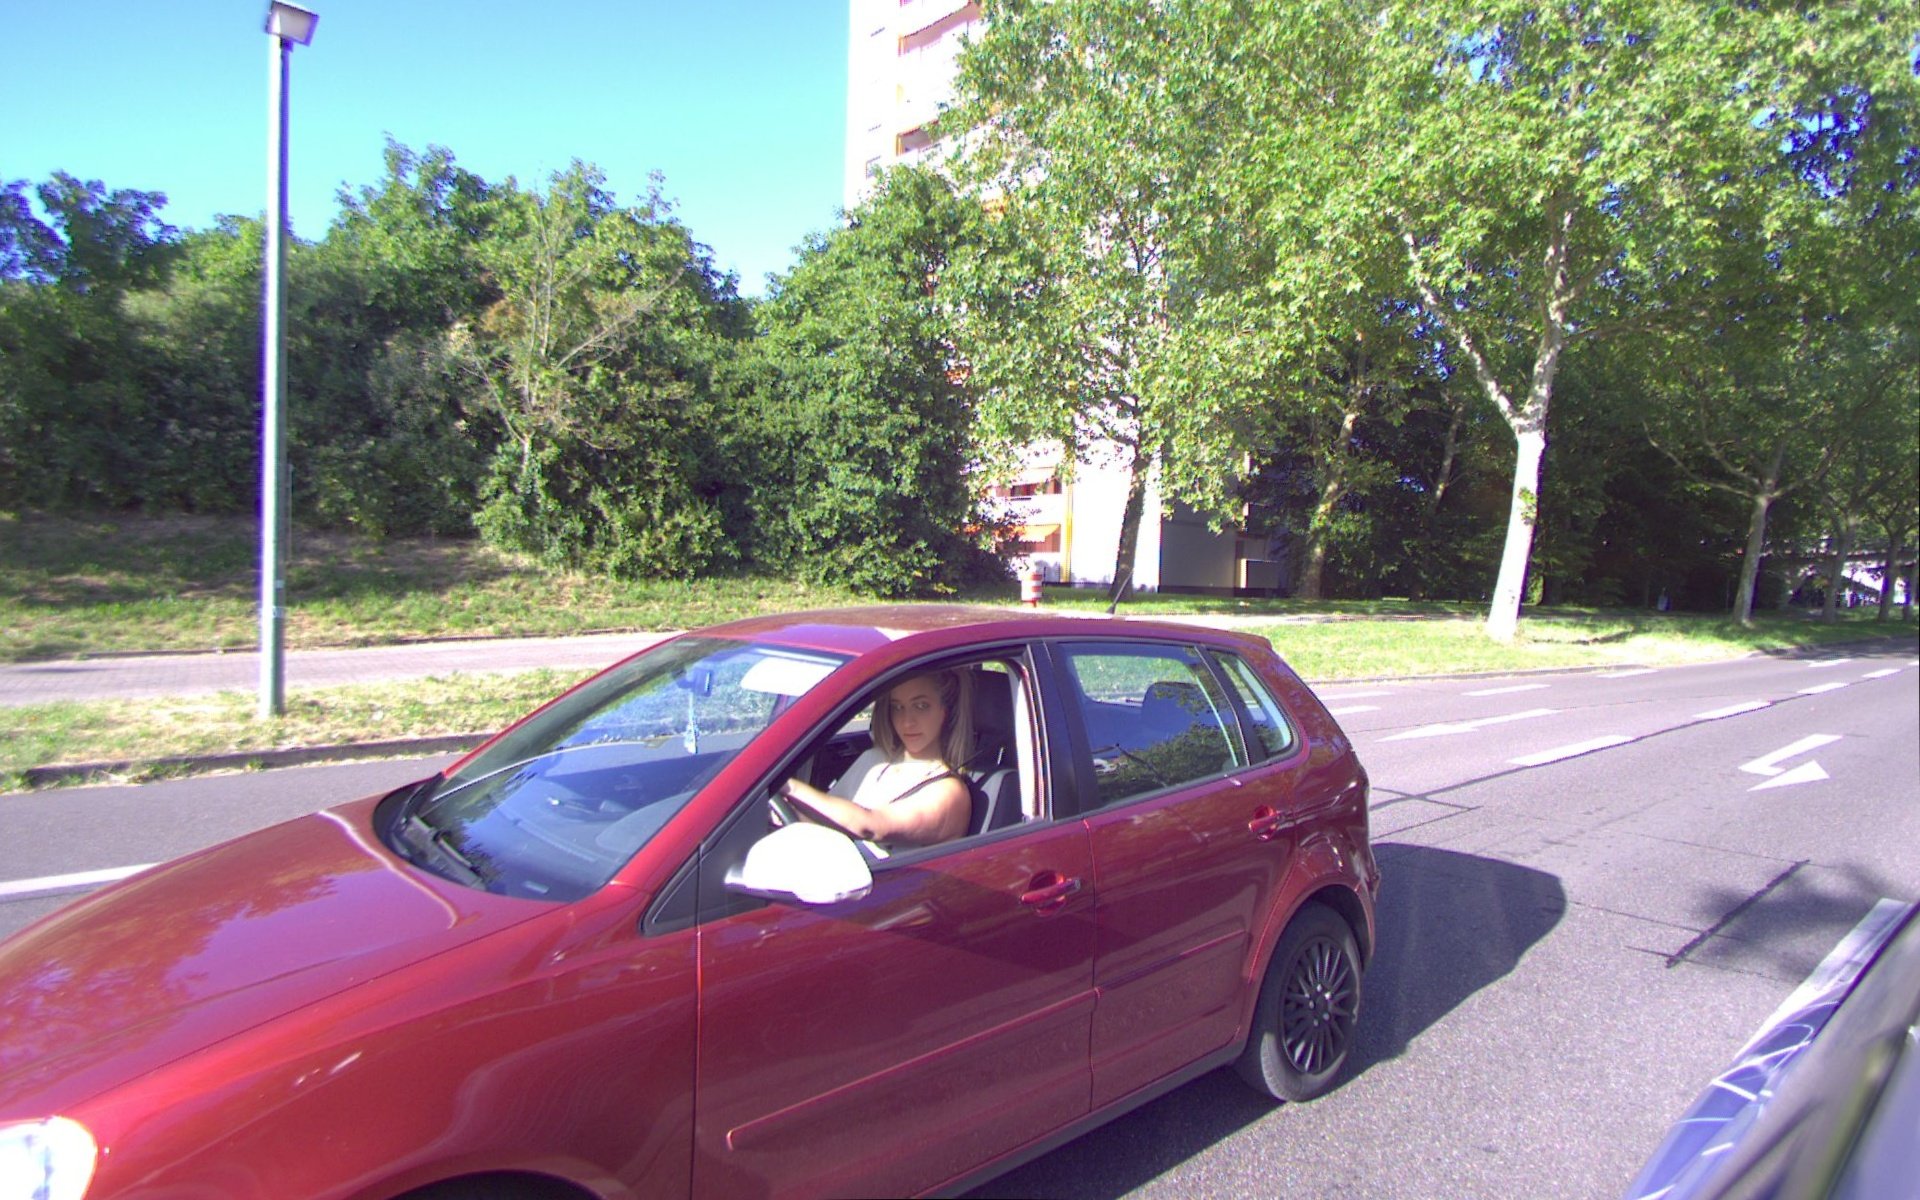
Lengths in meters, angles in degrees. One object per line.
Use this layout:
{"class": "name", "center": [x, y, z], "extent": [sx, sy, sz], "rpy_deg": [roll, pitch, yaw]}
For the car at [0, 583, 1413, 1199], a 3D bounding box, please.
{"class": "car", "center": [-0.461, 0.694, 2.766], "extent": [3.627, 1.434, 1.626], "rpy_deg": [0, 1, -39]}
